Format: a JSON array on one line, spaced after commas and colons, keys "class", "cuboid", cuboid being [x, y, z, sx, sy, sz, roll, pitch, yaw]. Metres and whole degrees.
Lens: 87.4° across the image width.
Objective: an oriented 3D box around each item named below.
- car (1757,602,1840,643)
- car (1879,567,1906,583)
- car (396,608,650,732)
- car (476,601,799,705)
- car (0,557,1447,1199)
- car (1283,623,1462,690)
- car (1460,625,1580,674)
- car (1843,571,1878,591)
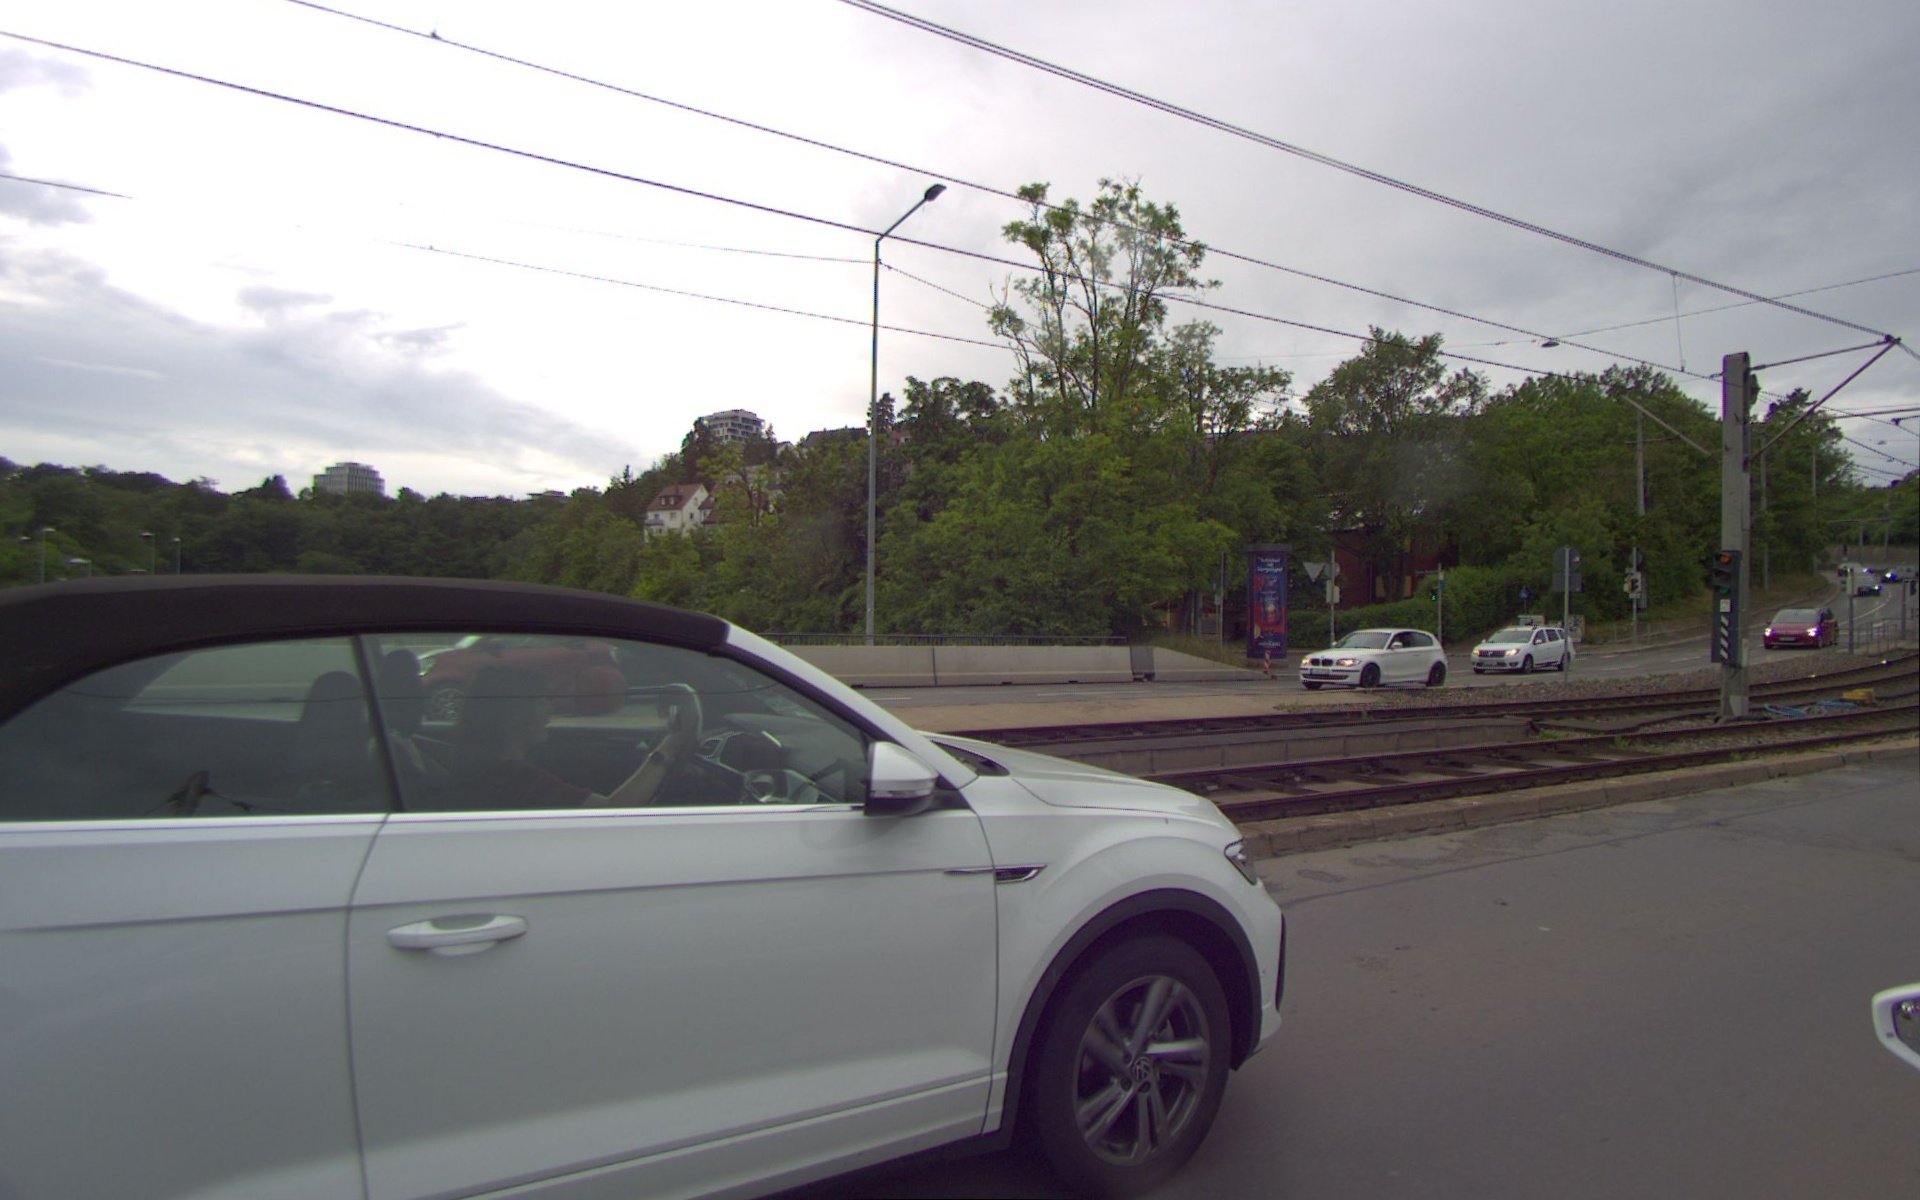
[{"class": "car", "cuboid": [35.212, 0.938, 42.150, 4.691, 1.618, 1.833, 0, -1, -39]}, {"class": "car", "cuboid": [91.002, -2.450, 98.008, 1.613, 1.403, 3.876, -3, 0, 39]}, {"class": "car", "cuboid": [-5.963, 0.913, 13.747, 2.984, 1.513, 1.592, 2, -2, -32]}, {"class": "car", "cuboid": [-5.631, 0.947, 17.781, 5.124, 1.618, 1.960, 3, -3, -31]}, {"class": "car", "cuboid": [-0.956, 0.739, 2.682, 4.487, 1.544, 1.862, 2, -1, -30]}, {"class": "car", "cuboid": [9.828, 1.332, 23.821, 4.443, 1.455, 1.720, 2, -3, -33]}, {"class": "car", "cuboid": [18.814, 1.642, 33.693, 4.485, 1.535, 1.809, 2, -1, -36]}, {"class": "car", "cuboid": [71.682, -1.495, 79.934, 4.244, 1.478, 1.700, -2, 0, -43]}]
